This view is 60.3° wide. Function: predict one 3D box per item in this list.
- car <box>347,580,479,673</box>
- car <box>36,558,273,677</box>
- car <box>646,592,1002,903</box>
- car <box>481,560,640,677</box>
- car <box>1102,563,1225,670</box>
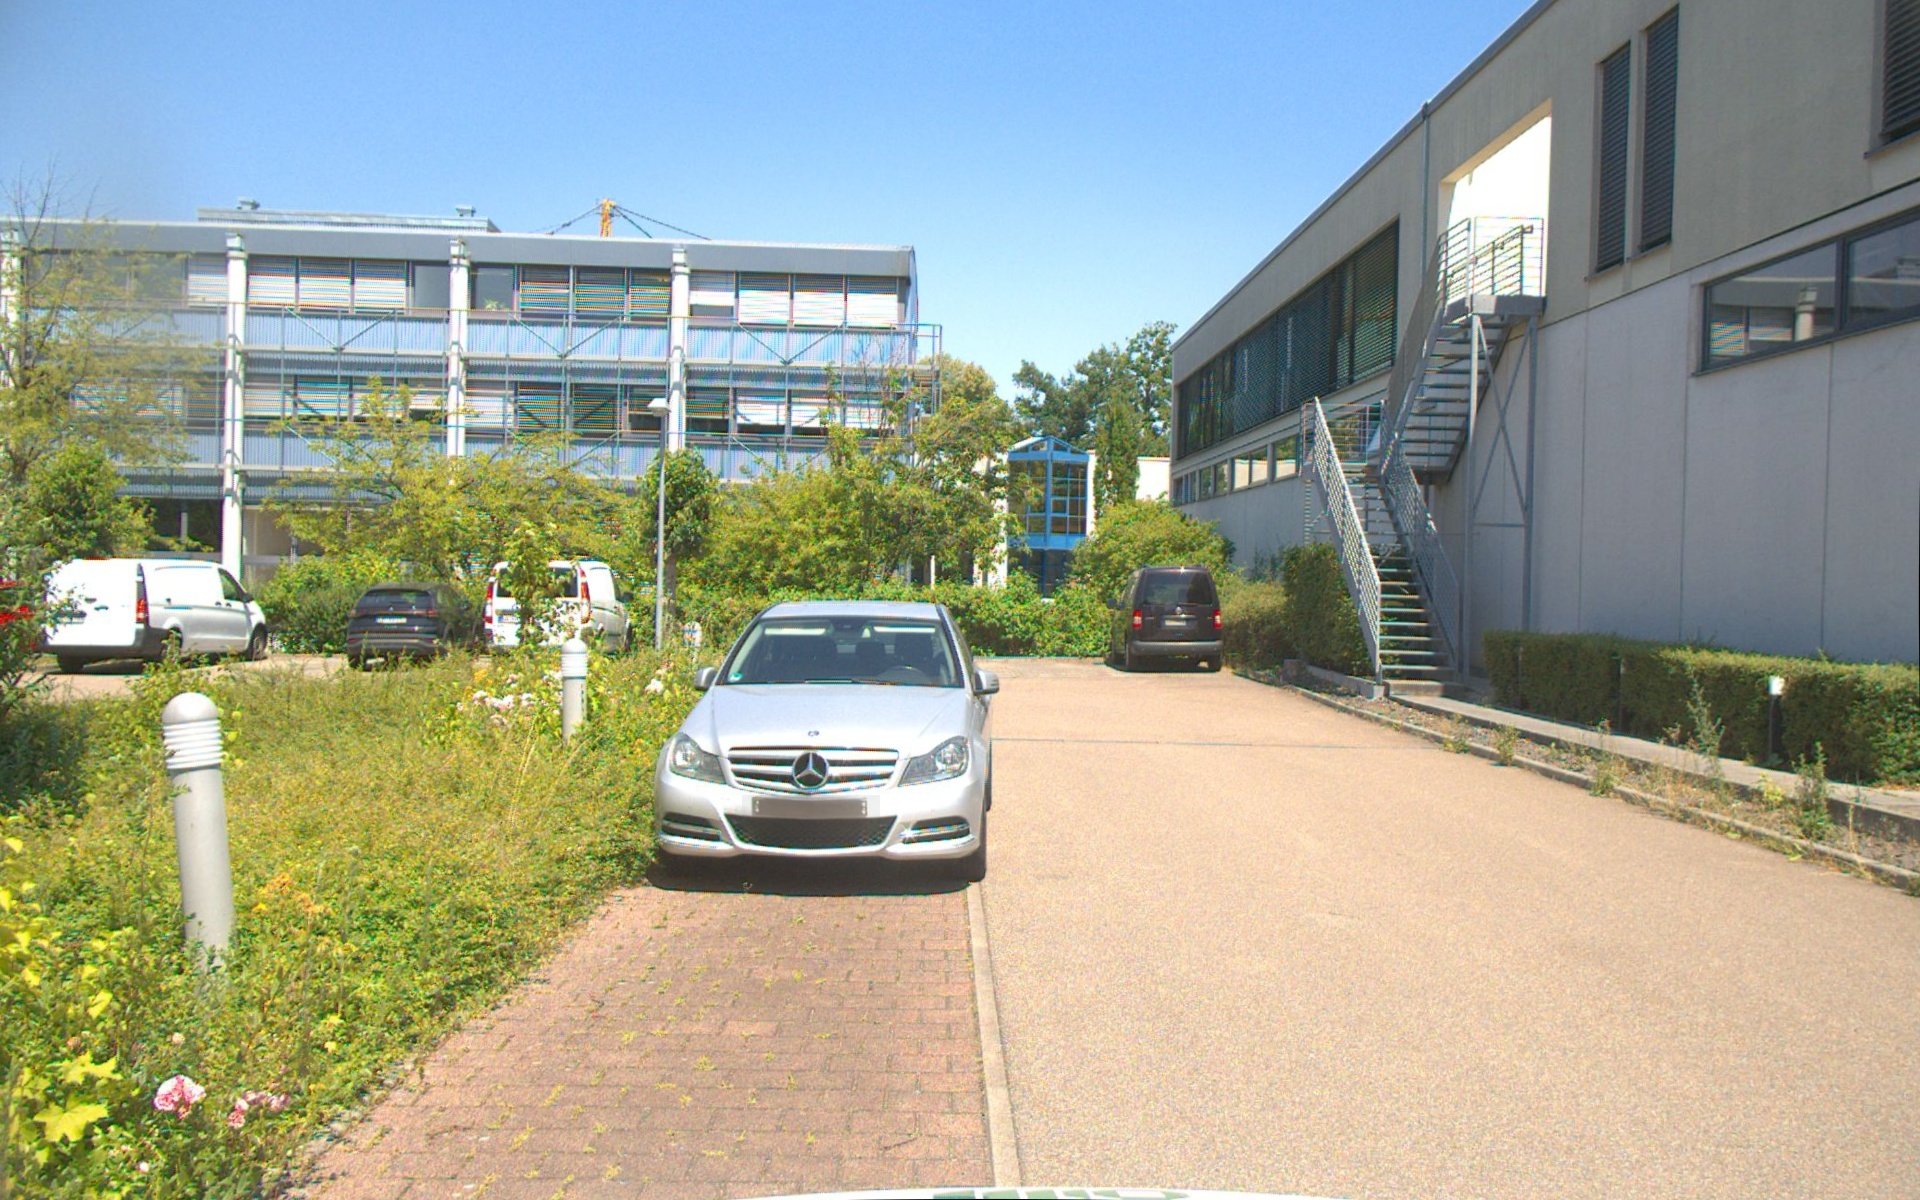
[{"bbox_3d":[-9.909,0.427,30.227,1.722,1.502,3.991,0,2,-10],"label":"car"},{"bbox_3d":[-14.181,0.230,29.475,1.843,1.924,4.804,0,1,0],"label":"car"},{"bbox_3d":[-0.602,0.696,10.004,1.693,1.482,4.149,0,0,2],"label":"car"},{"bbox_3d":[-7.096,0.244,29.870,1.874,1.938,4.806,0,1,-3],"label":"car"},{"bbox_3d":[3.723,0.254,30.867,1.708,1.869,3.999,0,1,-2],"label":"car"}]
